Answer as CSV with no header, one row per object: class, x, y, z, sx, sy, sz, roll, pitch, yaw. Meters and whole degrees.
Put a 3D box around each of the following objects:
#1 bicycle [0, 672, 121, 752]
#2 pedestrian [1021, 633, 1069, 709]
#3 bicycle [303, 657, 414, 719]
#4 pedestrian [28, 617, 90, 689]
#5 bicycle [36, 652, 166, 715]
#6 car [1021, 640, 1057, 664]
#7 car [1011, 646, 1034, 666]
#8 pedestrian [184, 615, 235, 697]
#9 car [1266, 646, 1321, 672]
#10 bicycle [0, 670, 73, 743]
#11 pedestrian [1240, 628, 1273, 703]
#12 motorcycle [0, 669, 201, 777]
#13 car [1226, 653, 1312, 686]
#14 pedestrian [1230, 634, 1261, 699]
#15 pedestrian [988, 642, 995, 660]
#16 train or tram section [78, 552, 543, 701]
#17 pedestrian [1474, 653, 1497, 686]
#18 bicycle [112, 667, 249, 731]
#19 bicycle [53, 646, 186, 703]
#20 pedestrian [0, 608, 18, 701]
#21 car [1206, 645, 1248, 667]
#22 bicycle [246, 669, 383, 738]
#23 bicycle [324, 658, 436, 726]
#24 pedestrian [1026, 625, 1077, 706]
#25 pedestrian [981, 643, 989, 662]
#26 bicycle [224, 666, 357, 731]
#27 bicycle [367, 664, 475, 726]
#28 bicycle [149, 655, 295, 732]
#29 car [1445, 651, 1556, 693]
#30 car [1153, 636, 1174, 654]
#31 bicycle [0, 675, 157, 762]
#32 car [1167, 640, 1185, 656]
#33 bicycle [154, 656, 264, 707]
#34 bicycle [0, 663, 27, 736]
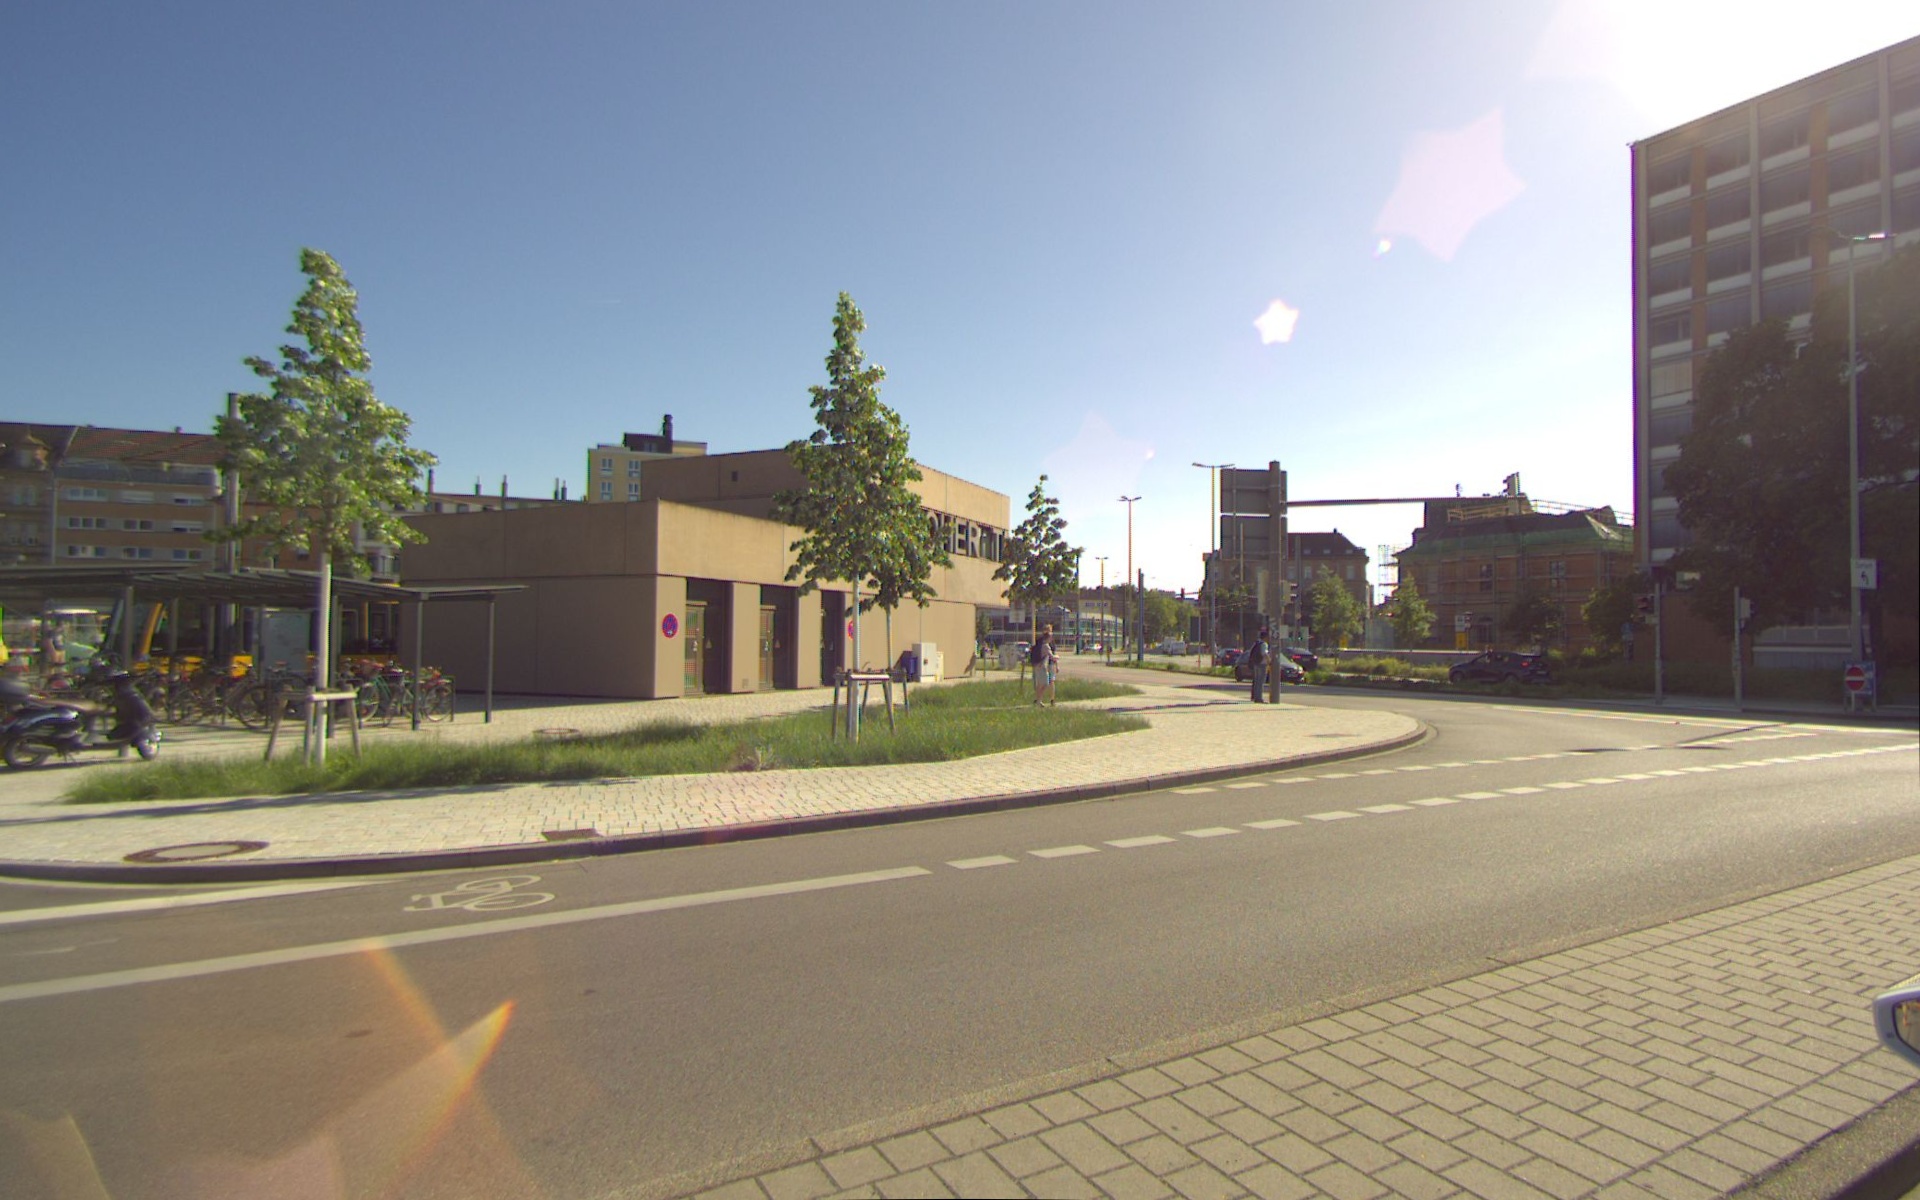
bicycle,-13.126,1.559,14.073,0.617,1.021,2.026,0,-2,25
pedestrian,1.952,1.625,23.203,1.005,1.727,0.839,1,-2,-3
bicycle,-11.751,1.689,19.690,0.617,1.107,1.829,0,-2,25
pedestrian,-26.269,1.540,29.288,0.854,2.040,1.012,0,-2,19
bicycle,-16.917,1.611,19.830,0.617,1.146,1.828,0,-2,27
car,6.181,4.057,78.738,1.963,1.814,3.995,1,-2,-8
car,5.839,5.231,94.185,1.867,1.728,4.000,0,-2,-2
pedestrian,-17.645,1.306,23.635,0.738,1.880,0.709,1,-2,-19
car,20.801,3.658,62.736,1.962,1.538,3.818,1,-2,-4
bicycle,-14.110,1.551,14.514,0.617,1.021,1.829,0,-2,25
pedestrian,7.574,1.671,25.650,0.594,1.880,0.681,1,-2,-7
motorcycle,-10.925,1.480,12.477,0.599,1.173,2.360,0,-2,25
car,13.952,3.110,45.598,1.967,1.407,3.989,1,-3,-15
pedestrian,7.655,1.769,26.939,0.594,1.719,0.634,1,-2,-7
pedestrian,3.607,5.744,113.894,0.708,2.040,0.718,0,-2,11
train or tram section,-18.715,0.870,30.731,2.702,3.648,12.318,0,-2,25
pedestrian,33.025,4.344,63.147,0.996,2.040,0.825,1,-2,-6
bicycle,-13.870,1.743,17.939,0.617,1.021,1.828,0,-2,27
bicycle,-15.998,1.393,19.167,0.617,1.021,1.828,0,-2,27
pedestrian,-19.783,1.104,20.425,0.671,1.880,0.602,1,-2,-19
car,20.046,4.210,75.507,1.962,1.538,3.818,1,-2,-4
bicycle,-10.677,1.680,16.684,0.617,1.021,1.828,0,-2,27
bicycle,-10.748,1.677,18.684,0.616,1.161,1.831,0,-2,18
pedestrian,2.162,1.521,23.762,0.859,1.869,0.832,2,-2,-40
pedestrian,2.702,5.661,108.037,0.708,2.040,0.718,0,-2,11
bicycle,-11.621,1.681,17.501,0.492,1.010,1.887,0,-2,31
bicycle,-9.828,1.711,18.385,0.616,1.021,1.832,0,-2,16
bicycle,-12.894,1.601,17.630,0.496,1.225,2.051,0,-2,26
car,22.353,2.945,41.718,1.806,1.591,3.987,1,-2,-17
car,30.341,6.714,149.511,2.952,2.580,6.963,0,-2,12
bicycle,-12.043,1.560,13.522,0.617,1.021,1.829,0,-2,25
car,28.474,6.282,132.487,2.030,2.040,5.019,0,-2,9
bicycle,-16.263,1.735,21.804,0.617,1.021,1.829,0,-2,25
bicycle,-15.277,1.517,15.013,0.617,1.094,1.829,0,-2,25
